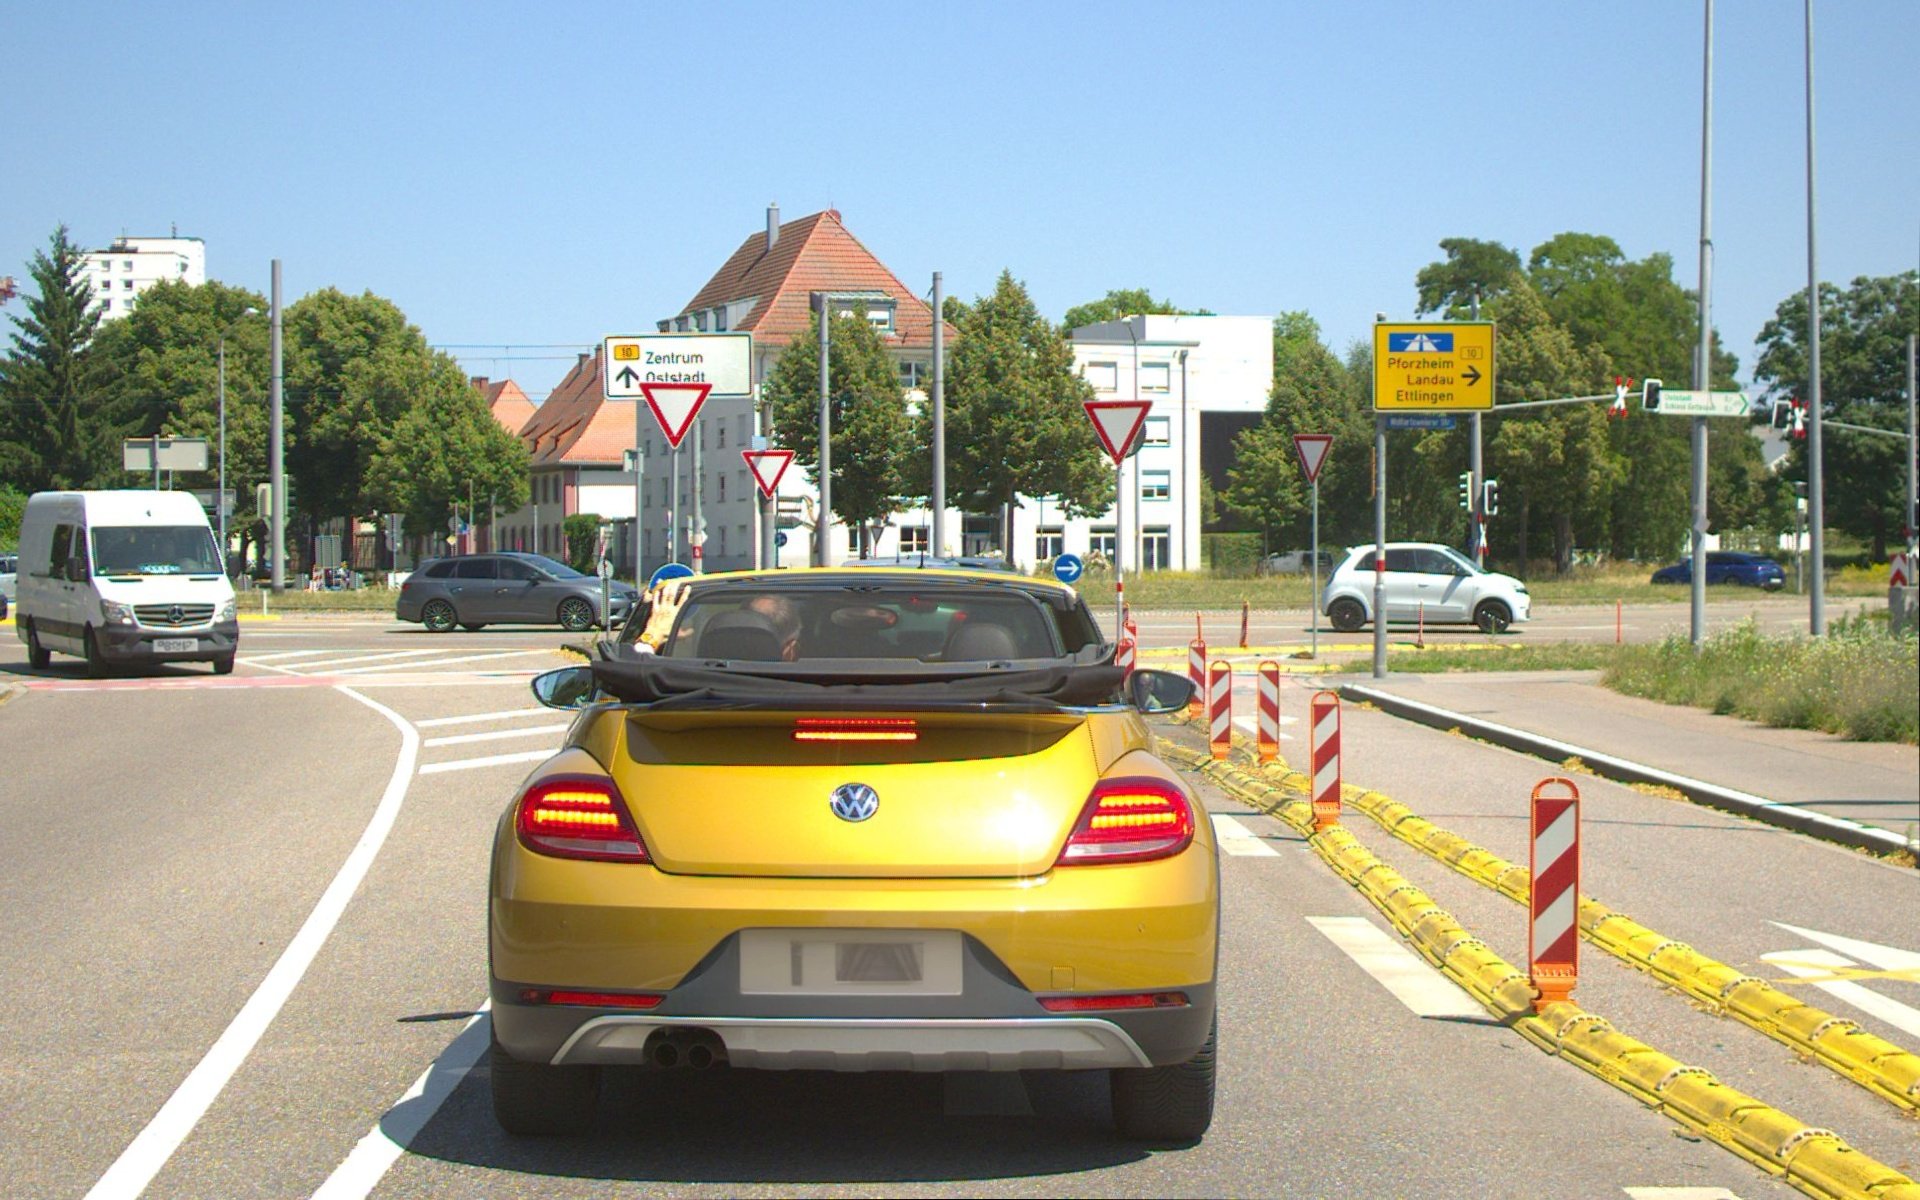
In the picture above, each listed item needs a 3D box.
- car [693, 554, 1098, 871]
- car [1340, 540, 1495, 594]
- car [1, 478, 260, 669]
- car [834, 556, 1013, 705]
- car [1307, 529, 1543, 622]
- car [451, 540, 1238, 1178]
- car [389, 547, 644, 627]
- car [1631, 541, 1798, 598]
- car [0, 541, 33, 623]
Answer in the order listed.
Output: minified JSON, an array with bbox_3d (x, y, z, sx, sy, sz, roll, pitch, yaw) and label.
[{"bbox_3d":[-0.313,0.499,17.834,1.848,1.437,4.000,1,1,0],"label":"car"},{"bbox_3d":[15.727,-1.145,118.340,4.927,1.780,2.022,0,1,39],"label":"car"},{"bbox_3d":[-11.944,-0.381,49.082,2.019,2.530,6.829,-1,1,-27],"label":"car"},{"bbox_3d":[-0.369,0.276,35.666,1.736,1.437,4.000,1,1,0],"label":"car"},{"bbox_3d":[8.101,-0.433,59.811,3.988,1.547,1.740,1,1,9],"label":"car"},{"bbox_3d":[-0.284,0.563,9.617,1.752,1.417,3.777,1,1,-1],"label":"car"},{"bbox_3d":[-8.085,-0.249,62.707,4.196,1.386,1.900,1,1,15],"label":"car"},{"bbox_3d":[24.357,-0.985,111.100,4.928,1.780,2.021,0,1,43],"label":"car"},{"bbox_3d":[-20.573,-0.385,67.883,4.442,1.590,1.996,1,1,36],"label":"car"}]
